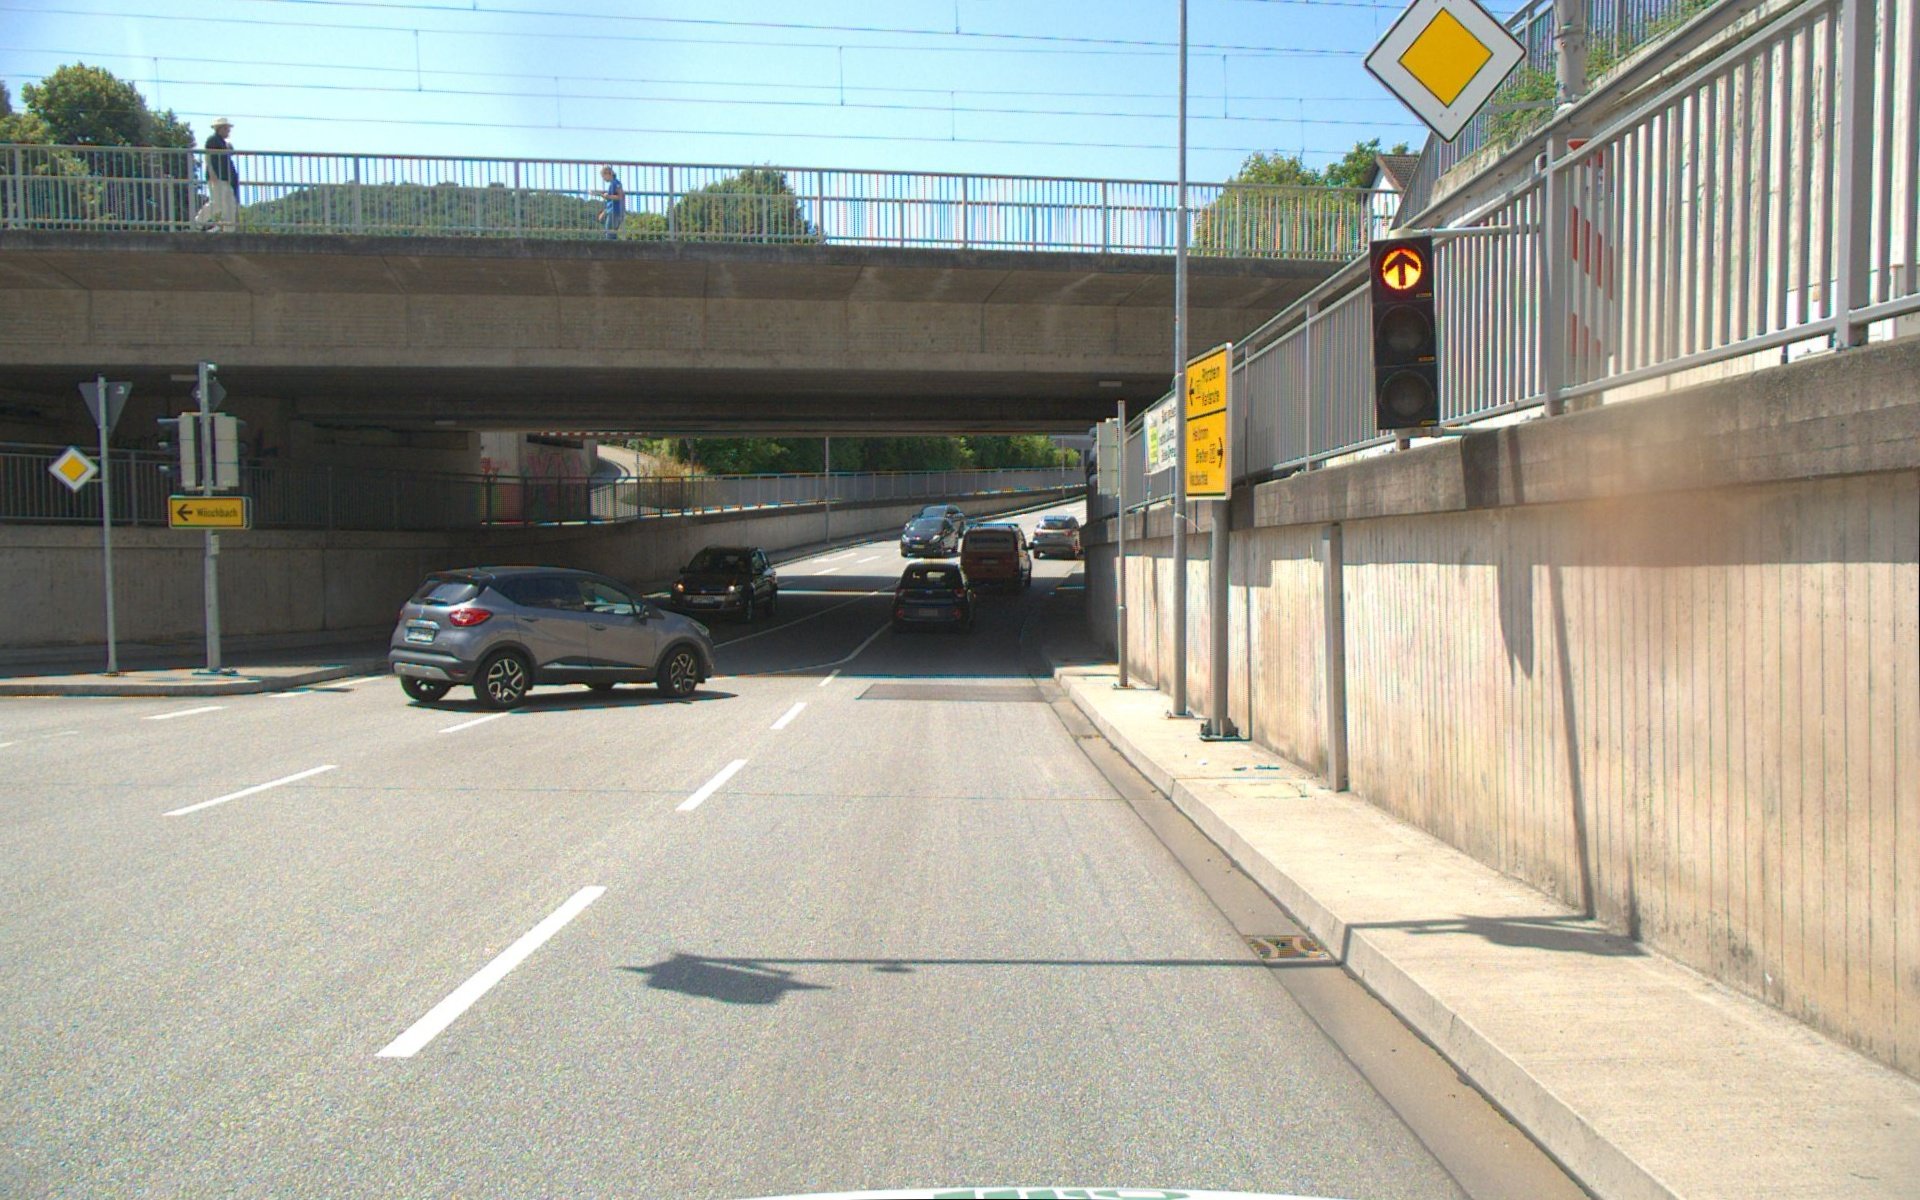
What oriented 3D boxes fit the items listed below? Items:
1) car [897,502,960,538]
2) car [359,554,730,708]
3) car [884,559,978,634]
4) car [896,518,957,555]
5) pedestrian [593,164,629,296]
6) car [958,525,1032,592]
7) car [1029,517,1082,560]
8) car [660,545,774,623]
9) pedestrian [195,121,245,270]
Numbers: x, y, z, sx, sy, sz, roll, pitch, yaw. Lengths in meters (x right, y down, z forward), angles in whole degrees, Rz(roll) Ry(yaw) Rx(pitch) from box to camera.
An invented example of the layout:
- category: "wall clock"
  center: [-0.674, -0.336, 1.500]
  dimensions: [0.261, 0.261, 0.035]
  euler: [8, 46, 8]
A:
- category: "car"
  center: [-1.423, -3.698, 76.515]
  dimensions: [1.951, 1.616, 4.004]
  euler: [1, 2, 14]
- category: "car"
  center: [-4.943, 0.276, 20.055]
  dimensions: [1.964, 1.616, 3.977]
  euler: [2, 3, 41]
- category: "car"
  center: [-0.616, -0.124, 36.590]
  dimensions: [1.953, 1.534, 4.001]
  euler: [0, 2, 0]
- category: "car"
  center: [-1.331, -2.572, 66.855]
  dimensions: [1.744, 1.461, 4.005]
  euler: [1, 2, 10]
- category: "pedestrian"
  center: [-5.900, -6.250, 28.010]
  dimensions: [0.529, 2.117, 0.534]
  euler: [-1, 0, -8]
- category: "car"
  center: [1.138, -1.331, 51.087]
  dimensions: [1.833, 1.965, 4.724]
  euler: [1, 2, 7]
- category: "car"
  center: [3.874, -2.486, 66.395]
  dimensions: [1.766, 1.646, 4.004]
  euler: [1, 2, 8]
- category: "car"
  center: [-5.557, -0.426, 38.280]
  dimensions: [1.952, 1.655, 4.002]
  euler: [0, 2, 2]
- category: "pedestrian"
  center: [-11.210, -6.117, 25.061]
  dimensions: [0.565, 2.117, 0.534]
  euler: [-1, 0, -11]
